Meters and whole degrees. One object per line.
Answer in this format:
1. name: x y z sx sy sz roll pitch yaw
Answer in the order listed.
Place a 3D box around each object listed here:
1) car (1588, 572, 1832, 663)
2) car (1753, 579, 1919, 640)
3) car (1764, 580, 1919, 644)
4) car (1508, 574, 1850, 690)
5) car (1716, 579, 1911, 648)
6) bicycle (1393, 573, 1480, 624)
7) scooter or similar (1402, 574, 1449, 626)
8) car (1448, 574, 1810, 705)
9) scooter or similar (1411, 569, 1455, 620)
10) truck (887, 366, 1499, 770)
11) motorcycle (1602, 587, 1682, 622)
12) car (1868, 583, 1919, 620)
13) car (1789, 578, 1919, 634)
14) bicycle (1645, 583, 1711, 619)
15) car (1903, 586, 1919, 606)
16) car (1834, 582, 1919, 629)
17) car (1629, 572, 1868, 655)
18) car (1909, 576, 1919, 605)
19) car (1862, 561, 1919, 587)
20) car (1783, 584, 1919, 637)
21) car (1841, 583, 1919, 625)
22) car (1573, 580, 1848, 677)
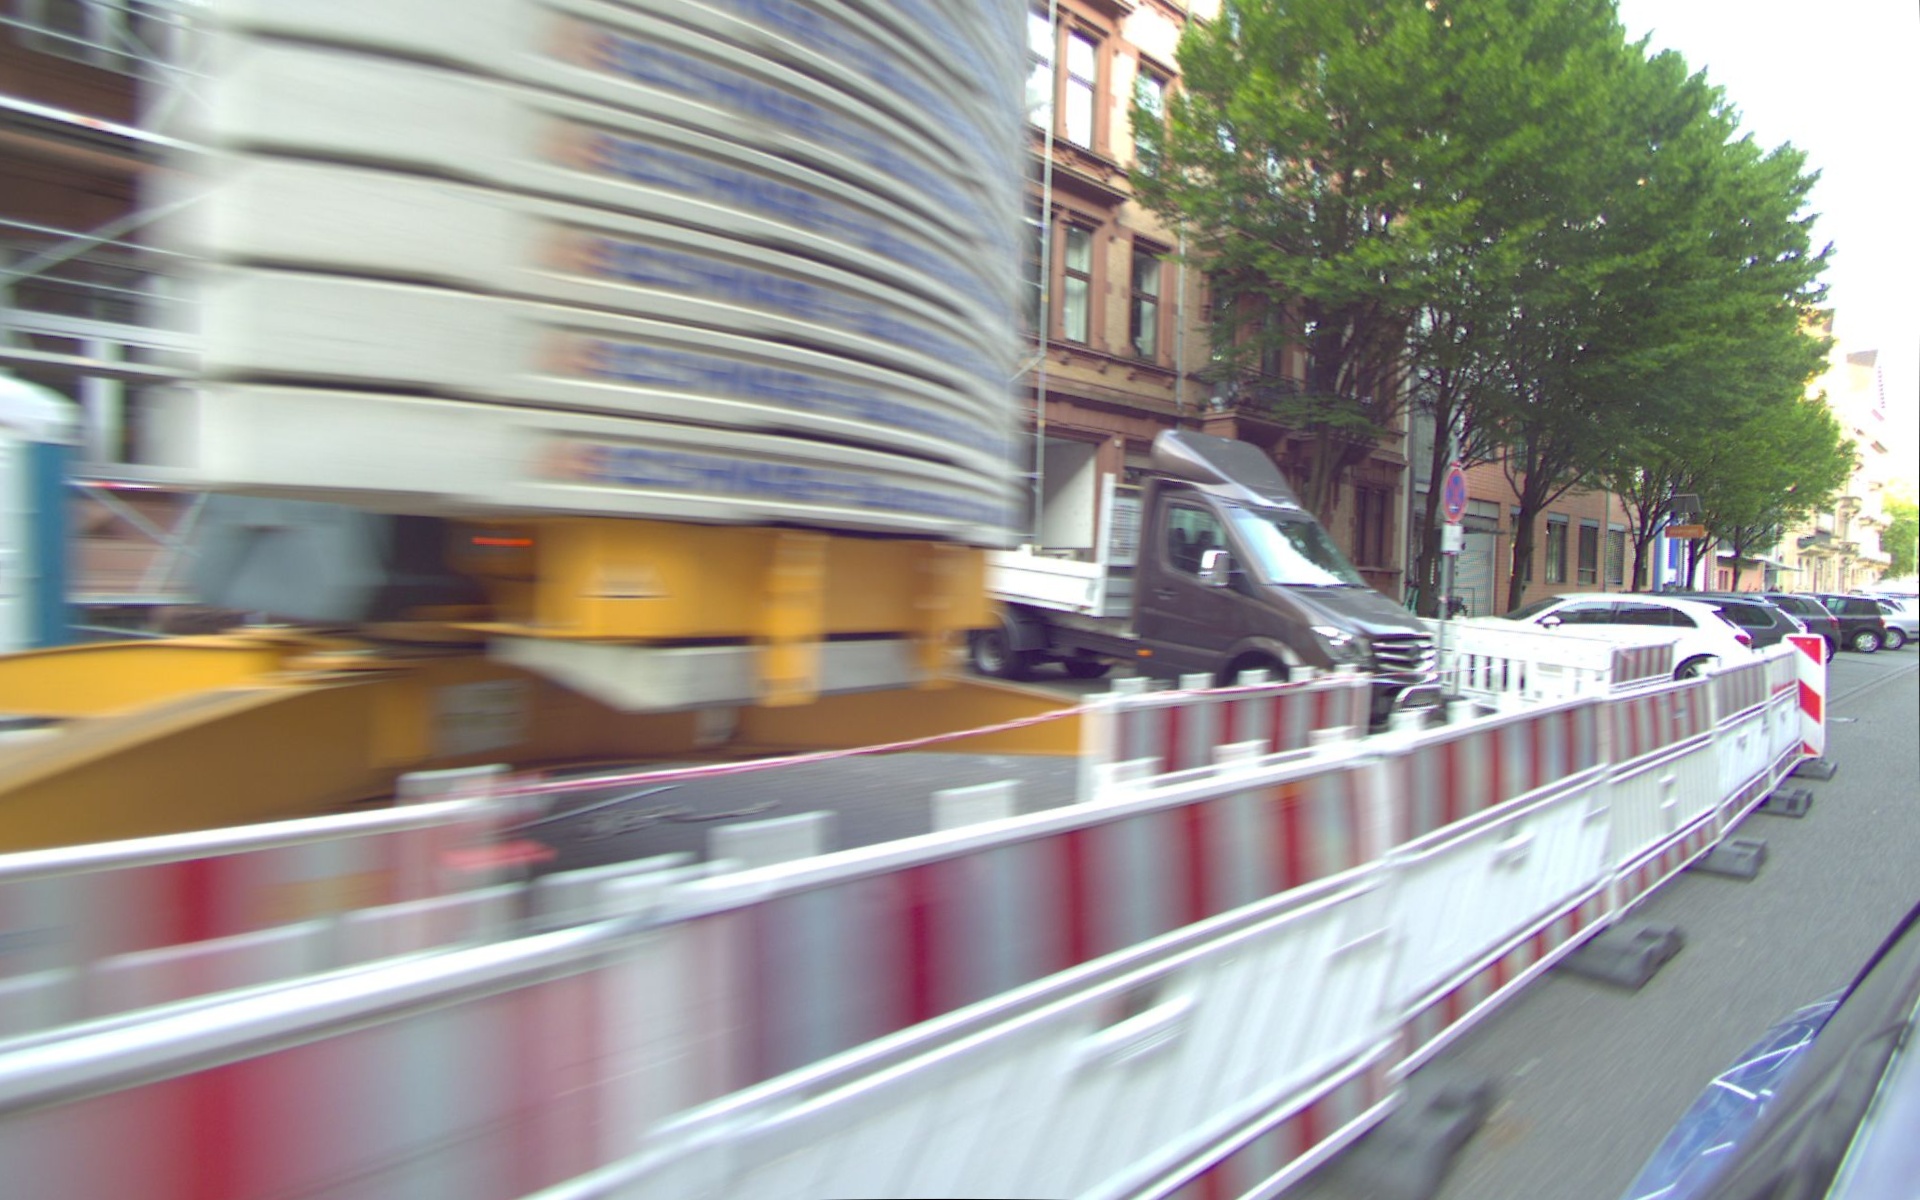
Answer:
1. car: 15.138 0.293 20.662 3.589 1.536 1.614 4 3 21
2. car: 27.829 0.264 32.059 3.786 1.584 1.668 4 4 19
3. car: 26.360 0.335 29.776 3.786 1.584 1.668 4 4 19
4. car: 11.613 0.454 16.676 4.108 1.506 1.825 3 3 13
5. car: 23.899 0.324 28.529 3.799 1.584 1.663 4 4 27
6. bicycle: 12.727 -0.060 27.067 2.008 1.179 0.574 5 3 31
7. scooter or similar: 11.628 -0.005 25.278 1.045 1.297 0.330 0 0 -4
8. car: 9.461 0.484 14.680 3.938 1.506 1.678 4 3 15
9. scooter or similar: 12.135 -0.156 25.974 1.043 1.297 0.330 0 0 -12
10. truck: 2.026 -0.301 11.145 2.478 3.115 6.497 -1 1 -38
11. motorcycle: 21.503 0.130 31.967 0.578 0.937 1.992 1 4 -28
12. car: 43.686 0.134 45.583 3.809 1.536 1.658 5 4 33
13. car: 31.750 0.188 35.388 3.790 1.668 1.667 4 4 22
14. bicycle: 25.535 0.021 36.014 1.765 1.113 0.538 8 6 42
15. car: 79.292 -0.251 81.985 3.778 1.536 1.672 3 4 14
16. car: 34.622 0.242 36.825 3.782 1.536 1.670 4 4 17
17. car: 17.439 0.256 22.595 3.748 1.536 1.642 4 3 17
18. car: 81.746 -0.686 83.847 4.125 2.320 1.674 3 4 10
19. car: 62.420 -1.677 66.792 3.789 1.536 1.667 4 4 21
20. car: 29.909 0.330 33.403 3.786 1.447 1.668 4 4 19
21. car: 39.790 0.205 42.565 3.809 1.536 1.658 5 4 33
22. car: 13.700 0.462 18.748 3.583 1.438 1.822 4 3 17
